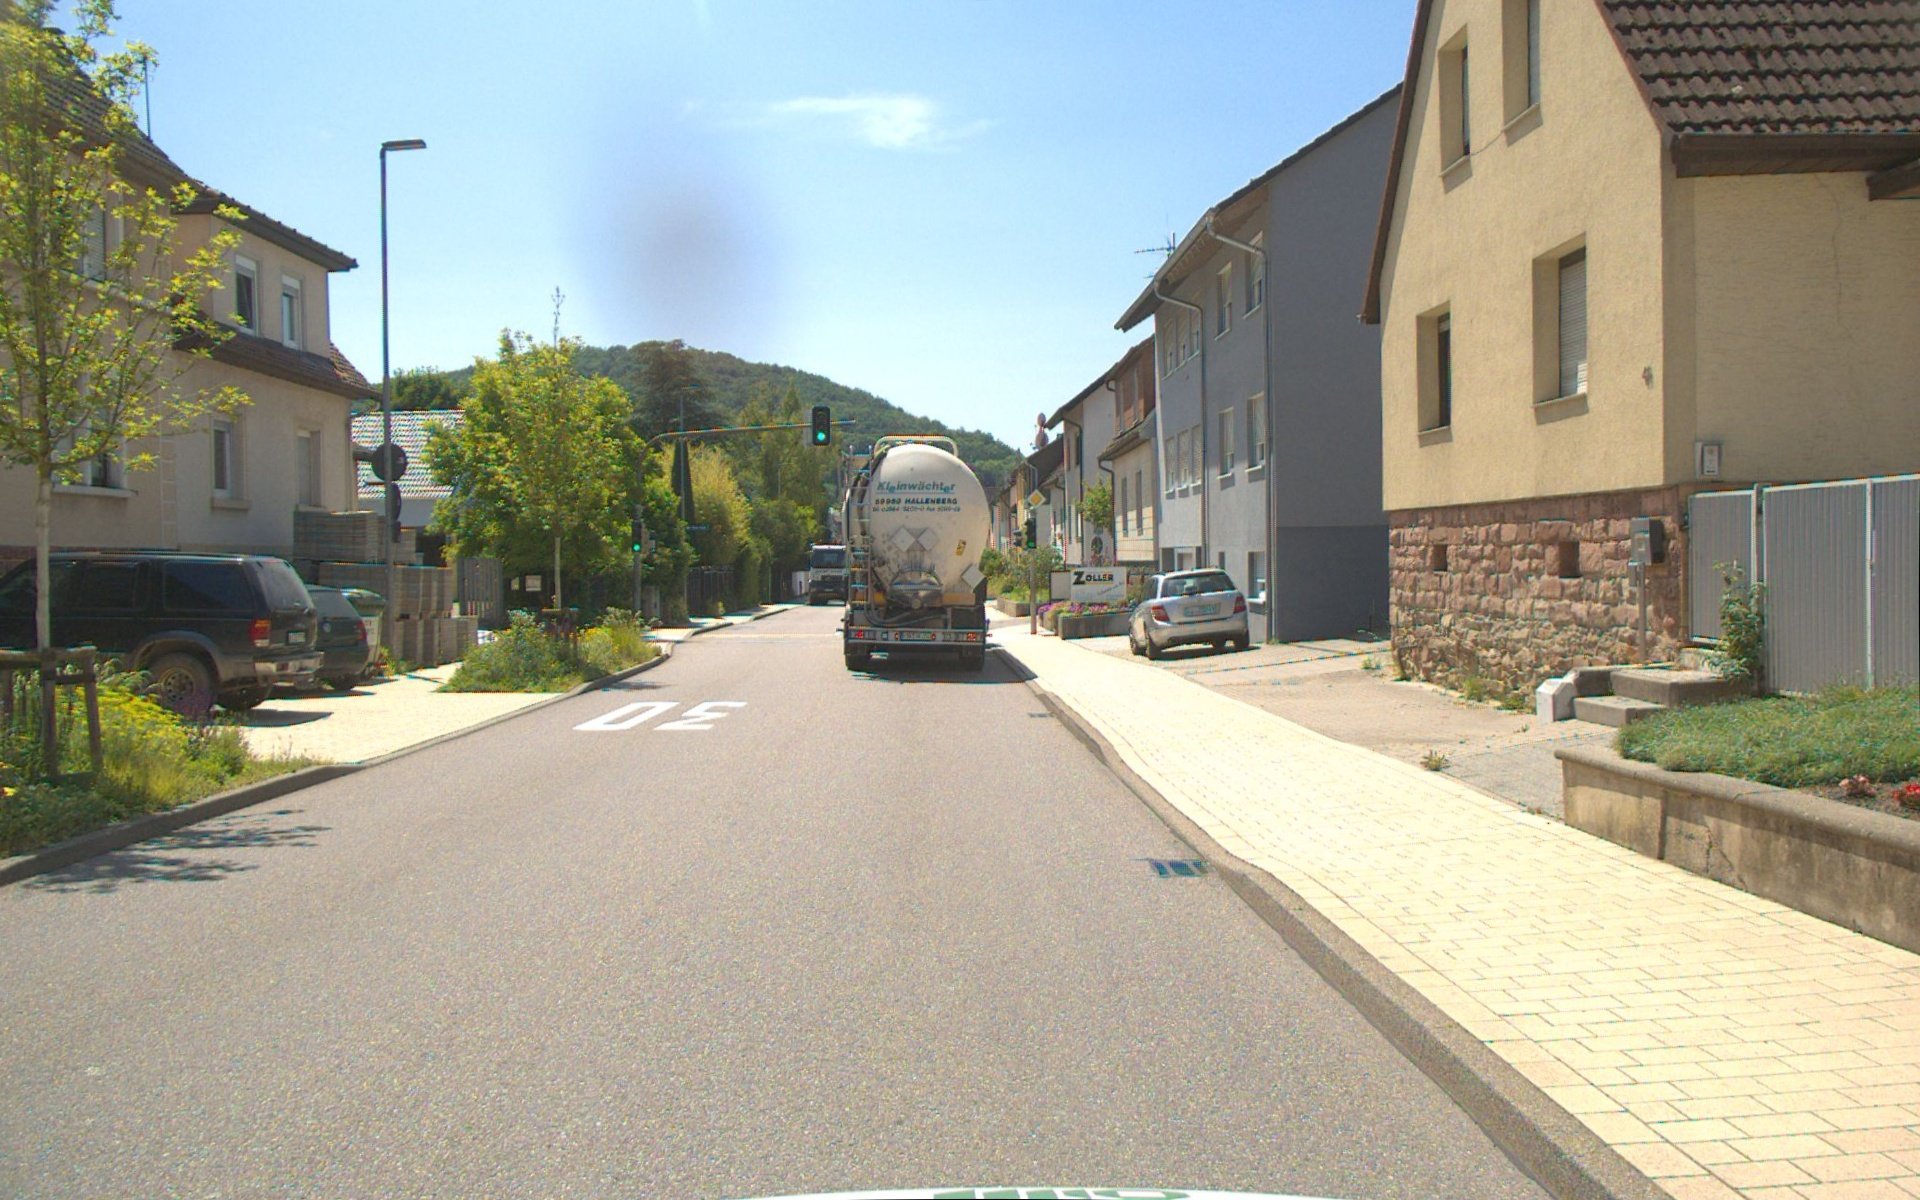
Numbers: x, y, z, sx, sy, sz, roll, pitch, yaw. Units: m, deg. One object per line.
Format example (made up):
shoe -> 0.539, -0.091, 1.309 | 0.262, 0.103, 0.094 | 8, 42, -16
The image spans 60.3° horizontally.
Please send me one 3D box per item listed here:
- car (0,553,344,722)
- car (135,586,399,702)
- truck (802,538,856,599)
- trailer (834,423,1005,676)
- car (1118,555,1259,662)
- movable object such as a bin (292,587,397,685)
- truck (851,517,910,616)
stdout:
car -> -9.395, 0.389, 18.474 | 4.306, 1.781, 1.877 | 0, 0, -2
car -> -9.509, 0.553, 22.647 | 3.477, 1.464, 1.694 | 0, 0, 33
truck -> -7.720, -1.857, 98.365 | 2.673, 3.430, 8.632 | 1, 1, -1
trailer -> -0.902, -0.854, 31.870 | 2.740, 4.071, 10.318 | 0, 1, -3
car -> 3.958, 0.121, 29.355 | 1.755, 1.567, 4.520 | -6, 0, 0
movable object such as a bin -> -9.084, 0.508, 24.483 | 0.969, 1.342, 1.404 | 1, 3, 3
truck -> -3.996, -1.647, 85.490 | 2.789, 4.760, 11.336 | 0, 0, -2
